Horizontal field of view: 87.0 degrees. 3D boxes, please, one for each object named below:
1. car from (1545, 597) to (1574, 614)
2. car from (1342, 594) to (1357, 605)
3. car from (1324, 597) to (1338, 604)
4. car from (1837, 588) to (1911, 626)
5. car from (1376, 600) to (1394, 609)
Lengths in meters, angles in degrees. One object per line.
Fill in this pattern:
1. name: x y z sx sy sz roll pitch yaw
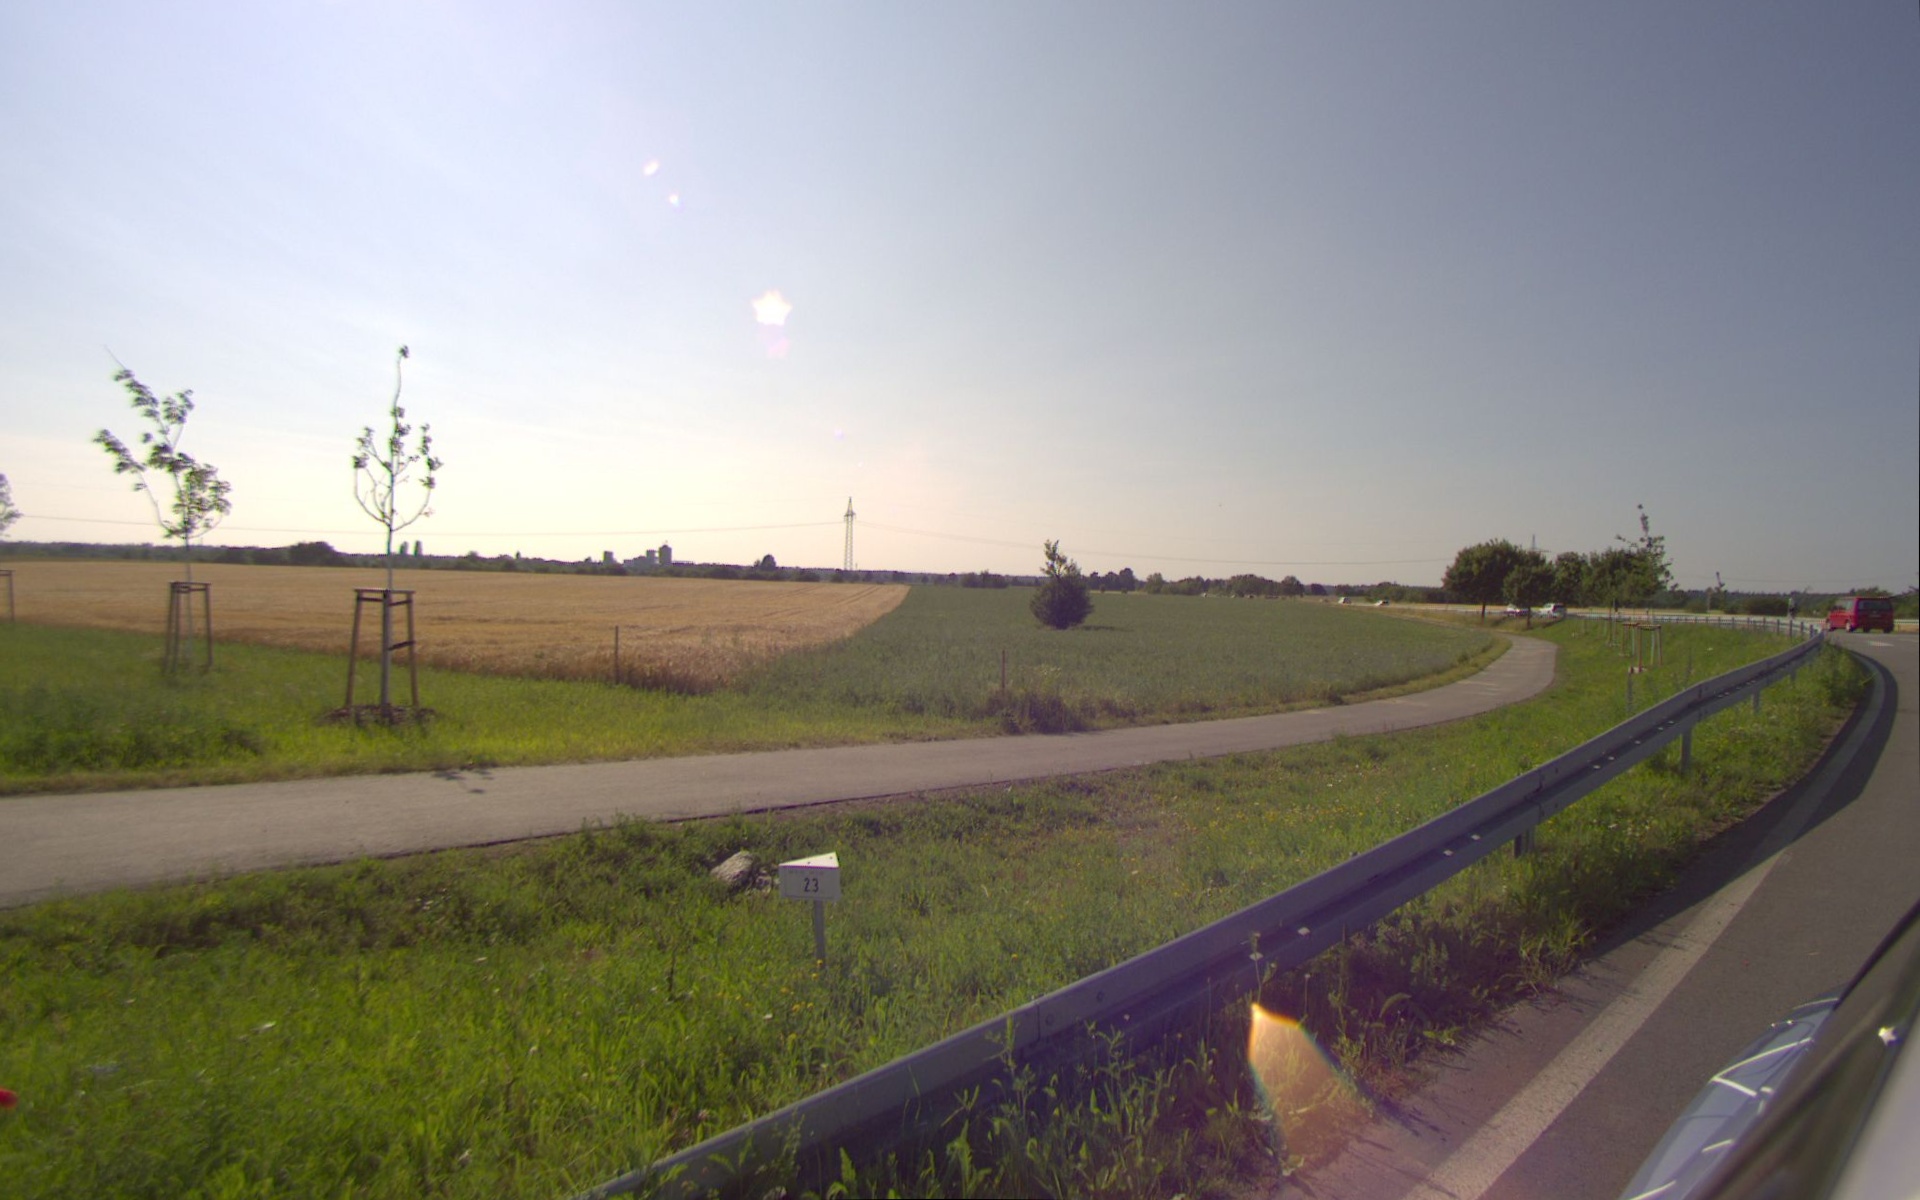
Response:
1. car: 71.369 0.583 120.592 1.672 1.693 4.845 -1 3 14
2. car: 84.954 -0.106 220.548 2.088 2.040 5.135 0 -2 10
3. car: 87.718 0.216 239.347 1.768 1.467 4.698 1 -2 4
4. car: 51.166 0.385 56.750 1.821 1.965 4.879 1 0 27
5. car: 80.227 0.909 190.905 2.088 1.512 5.134 0 -2 11
